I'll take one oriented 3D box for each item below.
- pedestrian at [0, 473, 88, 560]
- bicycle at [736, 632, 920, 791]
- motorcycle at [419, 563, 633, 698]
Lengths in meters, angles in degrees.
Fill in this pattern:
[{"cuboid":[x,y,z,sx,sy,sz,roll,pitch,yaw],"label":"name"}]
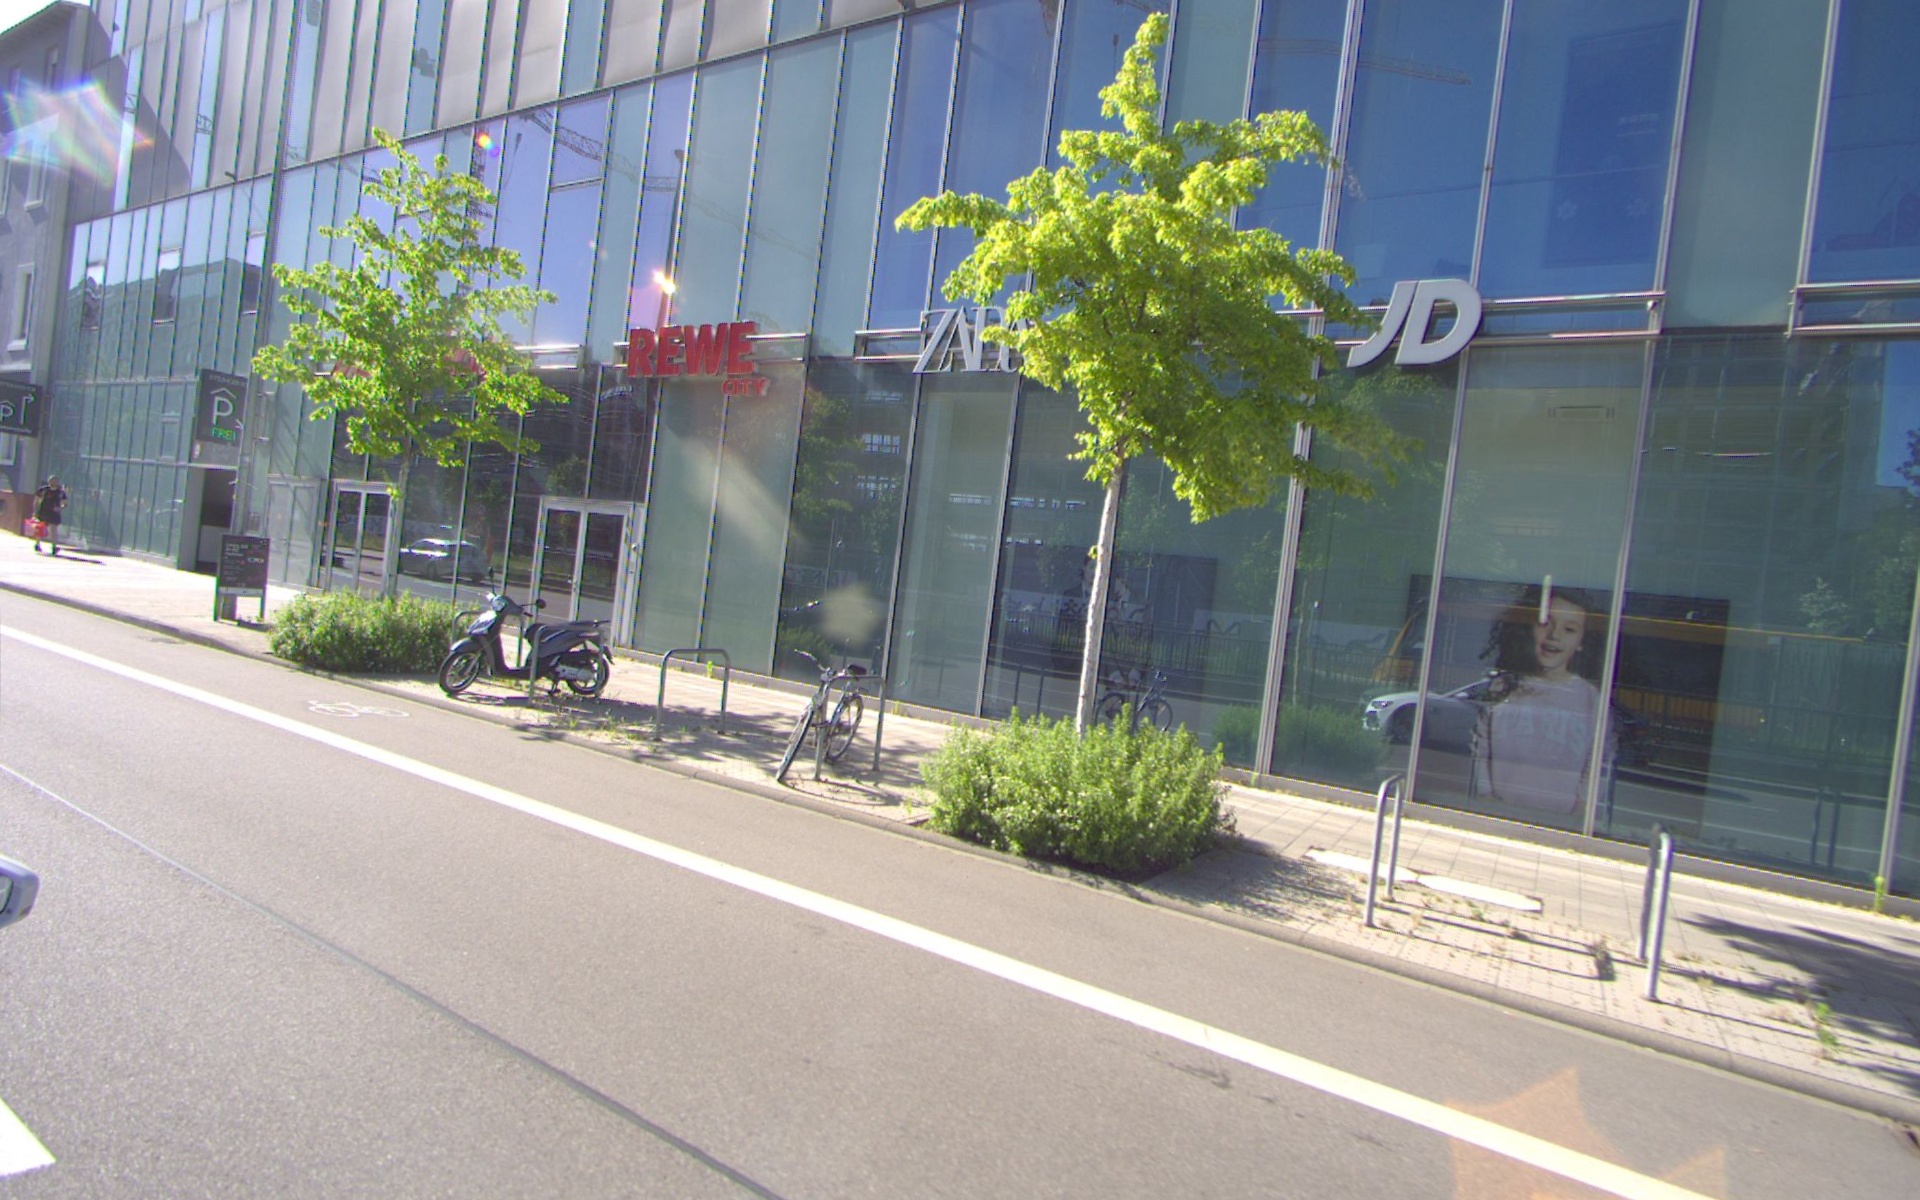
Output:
[{"cuboid":[-22.353,-2.027,24.546,1.497,1.887,1.096,7,1,31],"label":"pedestrian"},{"cuboid":[-1.095,0.903,8.858,0.659,1.166,1.885,7,1,22],"label":"bicycle"},{"cuboid":[-4.872,0.368,11.367,2.058,1.372,0.646,4,3,-35],"label":"motorcycle"}]
